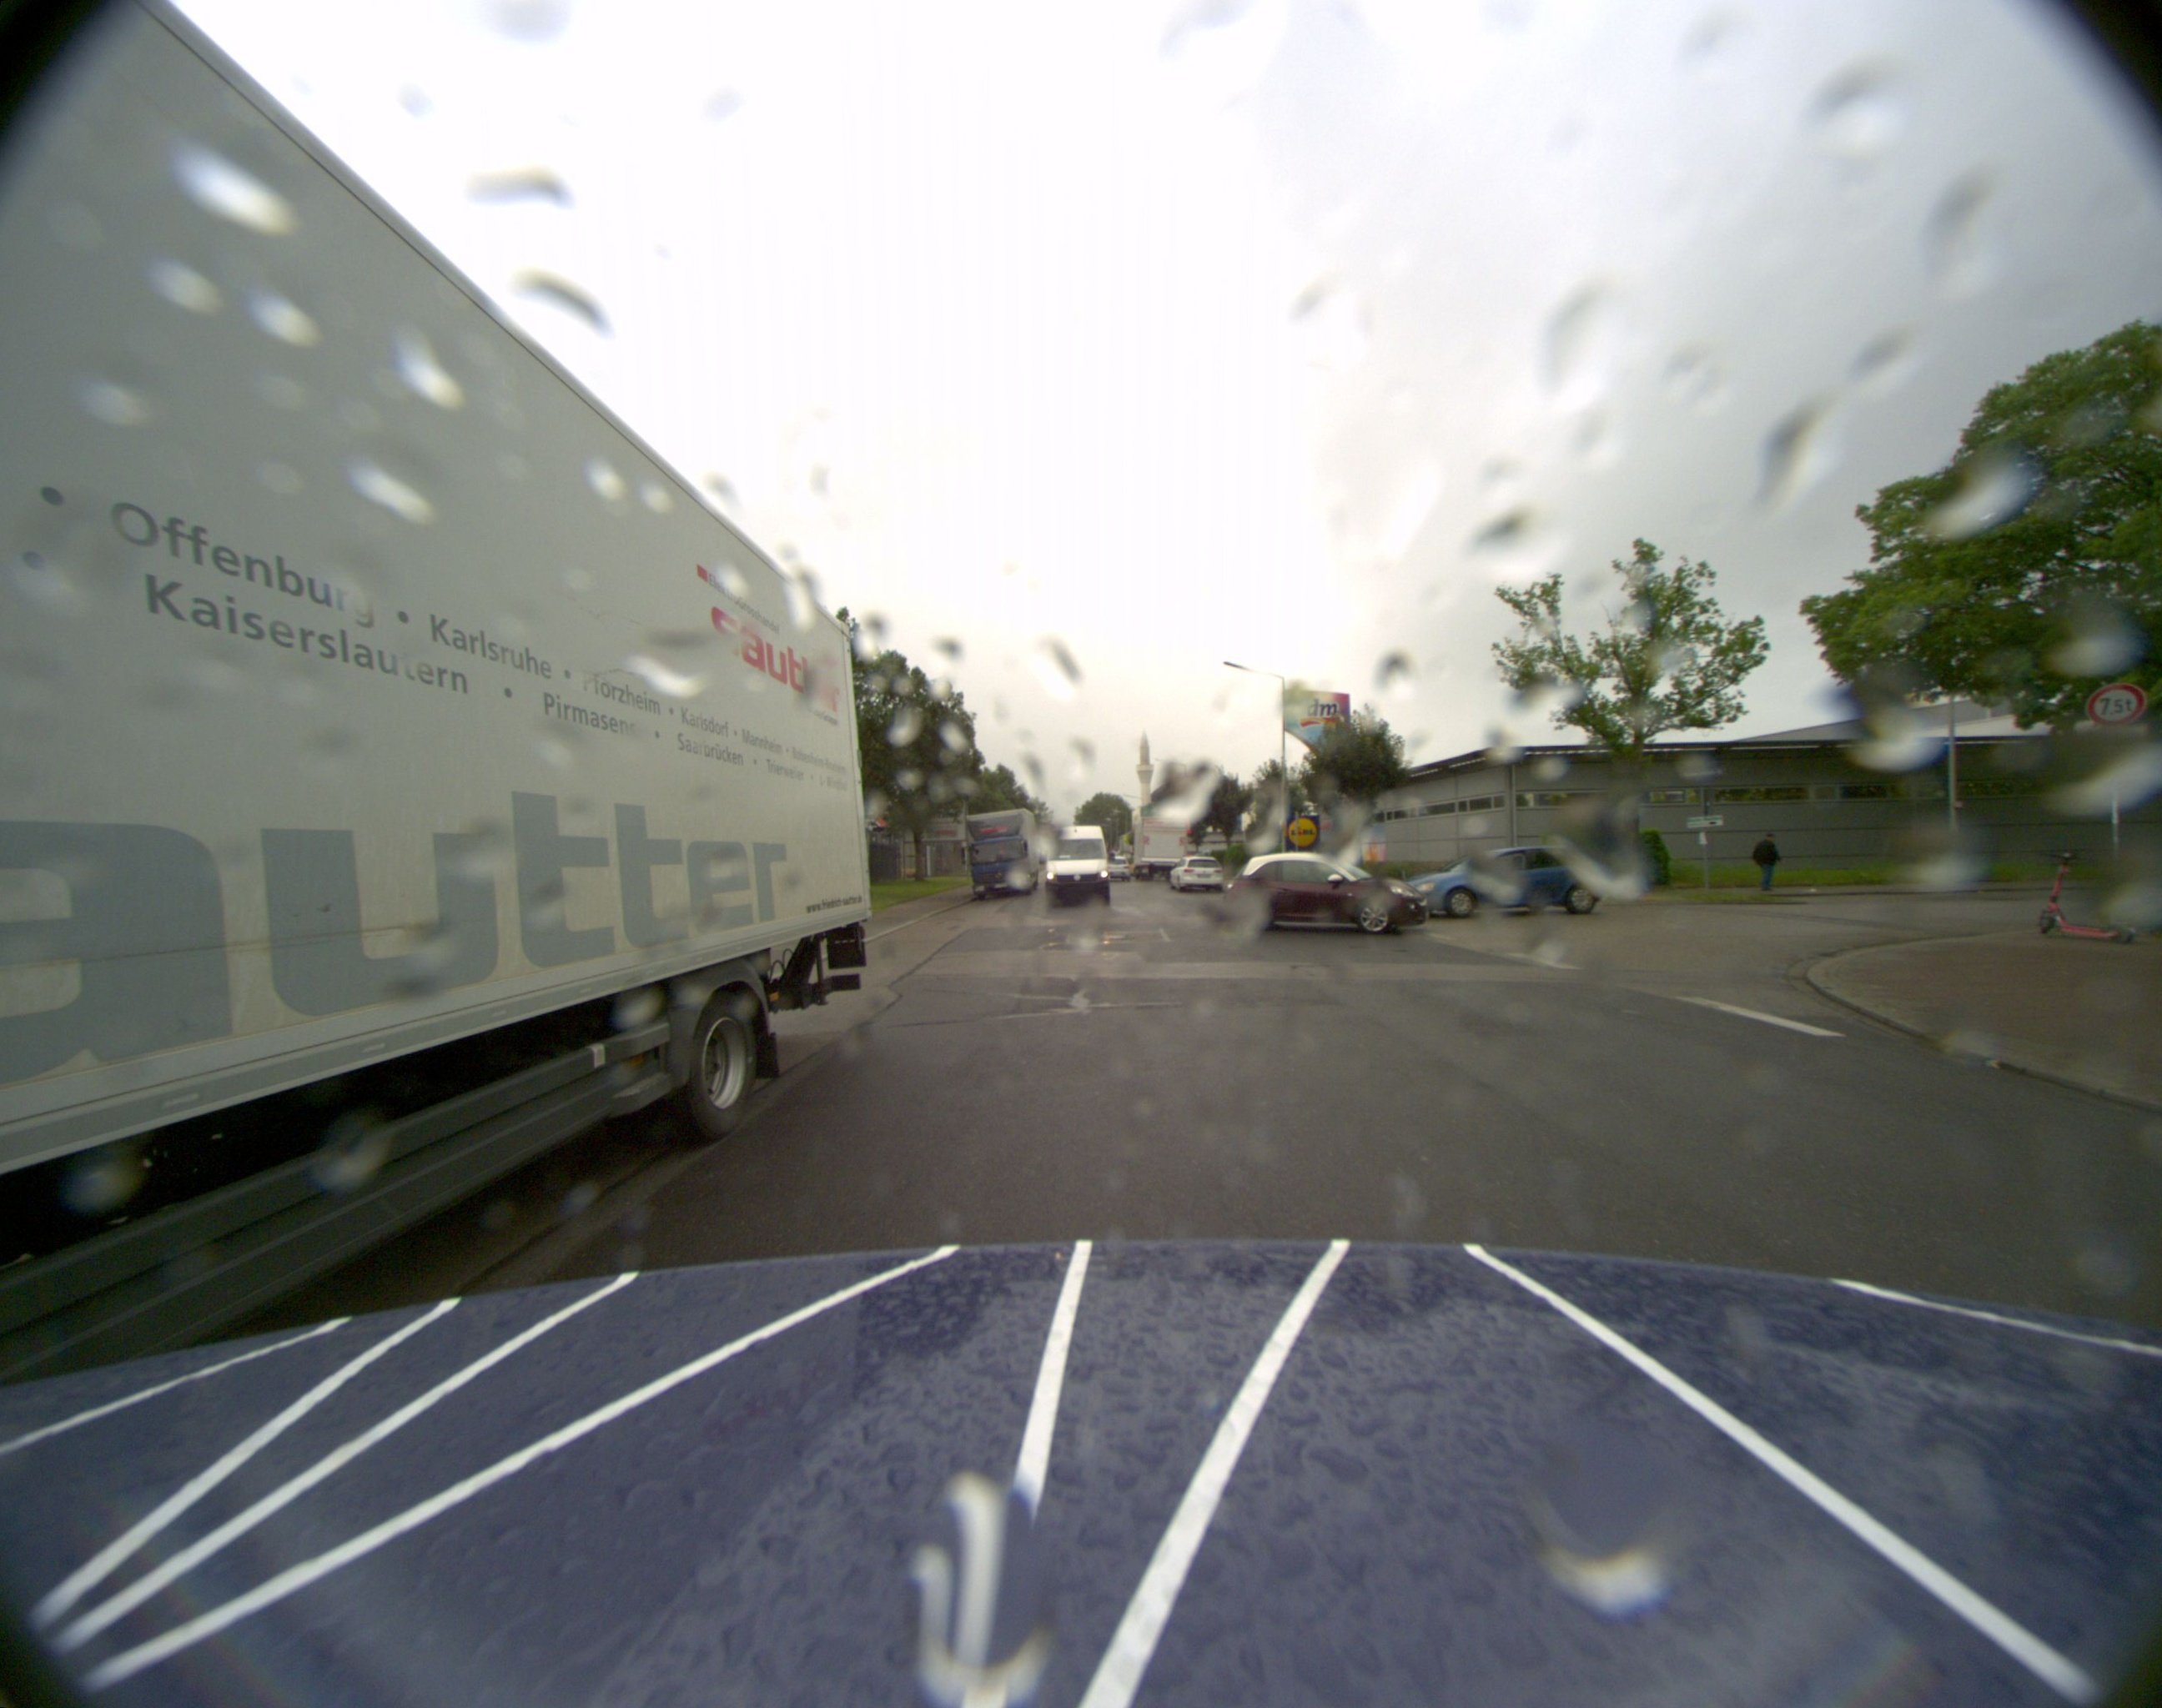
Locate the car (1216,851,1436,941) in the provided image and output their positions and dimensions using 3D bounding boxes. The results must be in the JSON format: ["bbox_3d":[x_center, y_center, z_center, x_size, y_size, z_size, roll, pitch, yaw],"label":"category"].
[{"bbox_3d":[4.574,0.762,14.313,3.568,1.446,1.641,-2,1,34],"label":"car"}]

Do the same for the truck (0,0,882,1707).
[{"bbox_3d":[-3.451,-0.066,2.592,2.748,3.767,9.298,-4,0,1],"label":"truck"}]

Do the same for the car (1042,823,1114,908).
[{"bbox_3d":[-0.122,0.345,25.193,2.085,2.466,5.346,-1,0,-1],"label":"car"}]

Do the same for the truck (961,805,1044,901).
[{"bbox_3d":[-3.360,-0.056,34.491,2.678,3.670,8.008,-4,0,0],"label":"truck"}]

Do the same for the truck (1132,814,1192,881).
[{"bbox_3d":[4.845,-0.377,46.950,2.889,3.724,7.867,-1,0,1],"label":"truck"}]

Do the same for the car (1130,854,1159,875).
[{"bbox_3d":[4.616,0.742,55.744,1.692,1.457,3.512,-1,0,-2],"label":"car"}]

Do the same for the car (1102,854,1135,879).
[{"bbox_3d":[2.192,0.705,45.283,1.735,1.432,3.999,-1,0,-1],"label":"car"}]

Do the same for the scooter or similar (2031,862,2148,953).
[{"bbox_3d":[13.739,0.700,10.382,0.284,1.169,1.060,-1,1,7],"label":"scooter or similar"}]

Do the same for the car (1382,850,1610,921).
[{"bbox_3d":[8.879,0.645,16.476,3.997,1.432,1.736,-1,0,0],"label":"car"}]

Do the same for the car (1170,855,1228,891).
[{"bbox_3d":[4.968,0.768,32.581,1.840,1.426,4.491,0,0,0],"label":"car"}]

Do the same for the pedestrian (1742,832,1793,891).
[{"bbox_3d":[19.876,0.220,21.998,0.782,1.664,0.758,-1,1,-3],"label":"pedestrian"}]
